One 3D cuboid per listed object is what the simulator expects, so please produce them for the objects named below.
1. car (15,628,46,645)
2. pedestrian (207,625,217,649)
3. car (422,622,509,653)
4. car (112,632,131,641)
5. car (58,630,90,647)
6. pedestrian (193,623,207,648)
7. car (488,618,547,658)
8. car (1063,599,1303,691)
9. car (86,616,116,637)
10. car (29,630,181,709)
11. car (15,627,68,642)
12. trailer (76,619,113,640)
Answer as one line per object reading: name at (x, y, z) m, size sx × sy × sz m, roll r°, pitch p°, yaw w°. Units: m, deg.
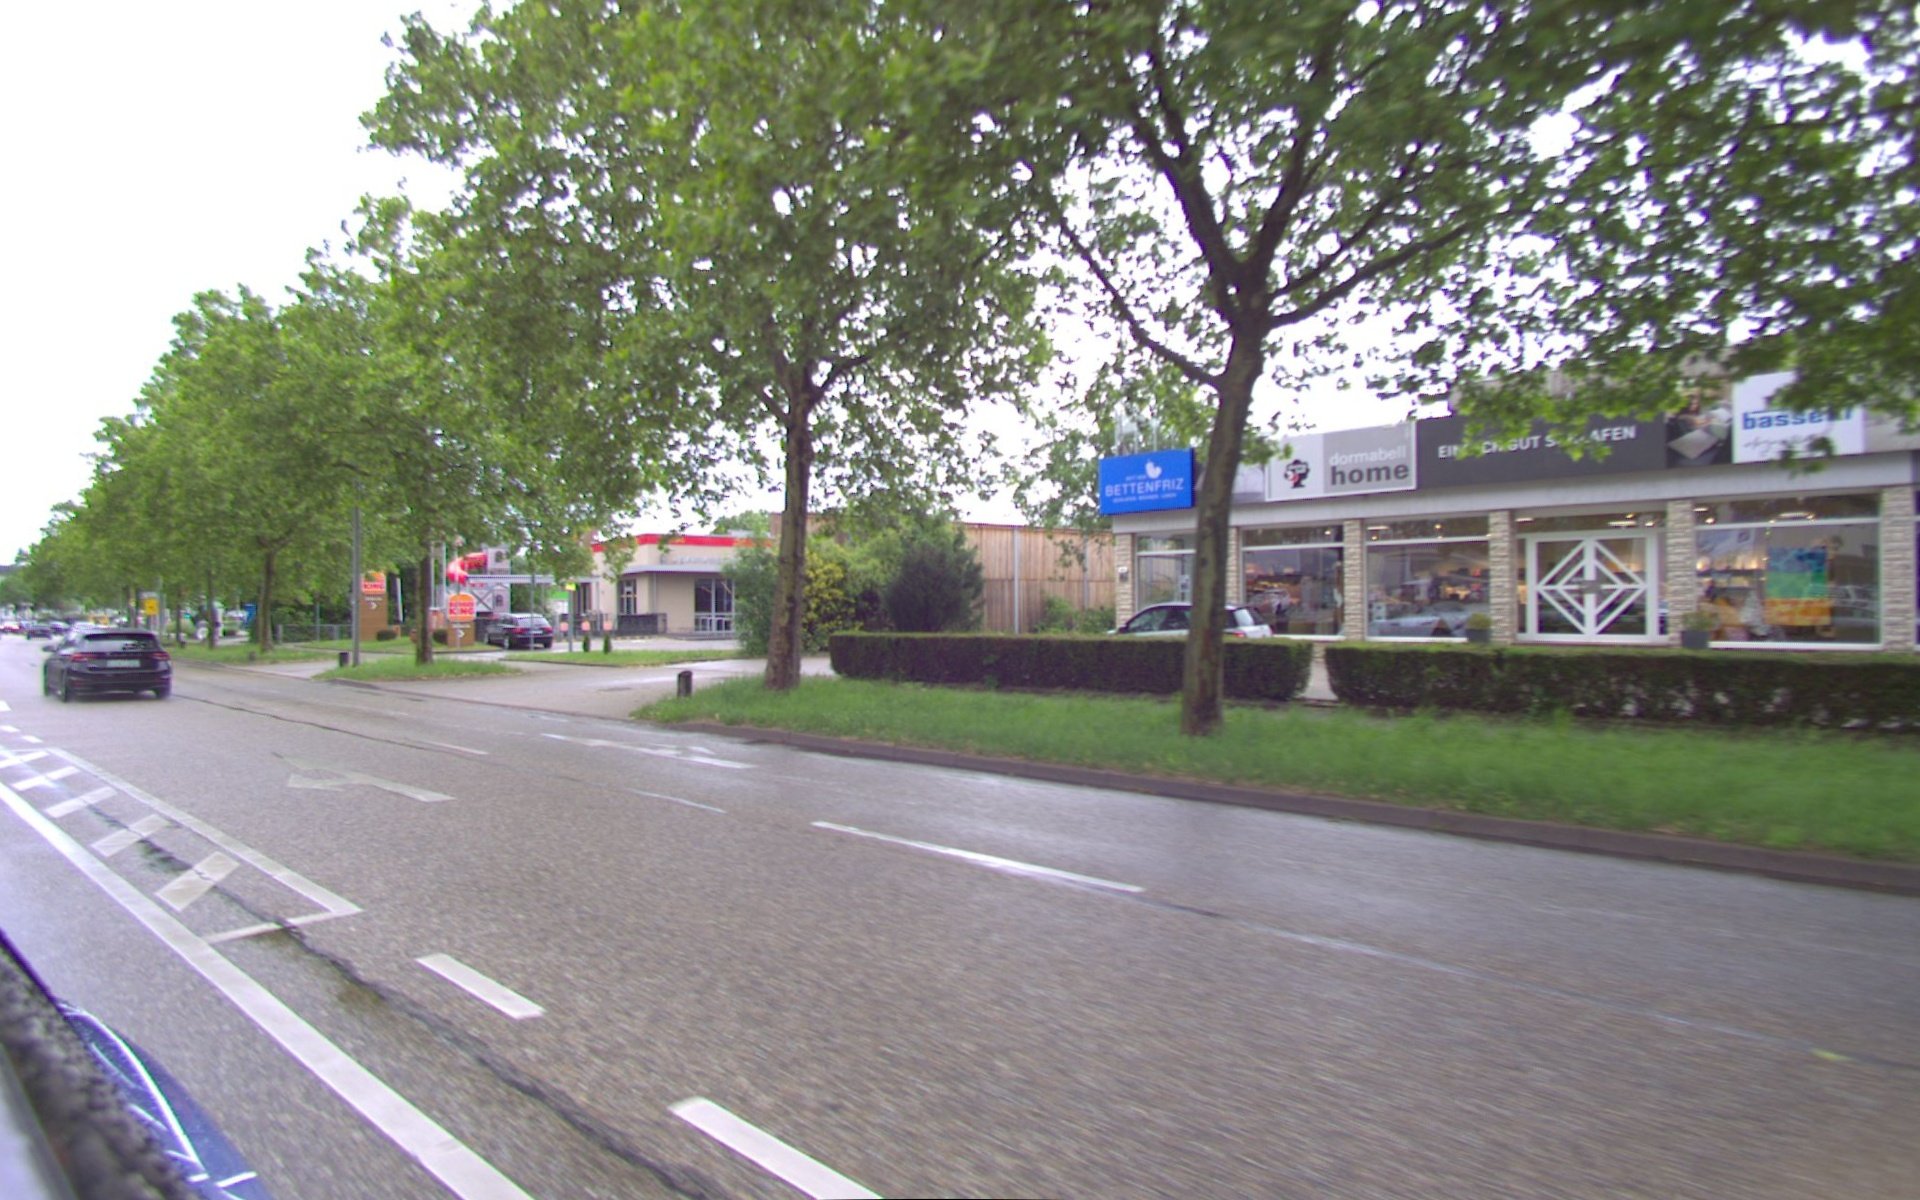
car at (-87.279, 3.479, 95.051) m, size 1.969 × 1.520 × 4.736 m, roll 2°, pitch -4°, yaw -41°
pedestrian at (-53.713, 2.682, 72.672) m, size 0.541 × 1.695 × 0.506 m, roll -2°, pitch -3°, yaw 44°
car at (-21.228, 1.589, 43.509) m, size 3.135 × 1.164 × 1.292 m, roll -3°, pitch 0°, yaw -40°
car at (-139.202, 6.027, 168.047) m, size 1.758 × 1.415 × 4.012 m, roll 1°, pitch -2°, yaw -29°
car at (-84.941, 3.666, 96.961) m, size 4.400 × 1.631 × 1.906 m, roll -1°, pitch -2°, yaw 44°
pedestrian at (-54.082, 2.538, 72.028) m, size 0.655 × 1.780 × 0.585 m, roll -1°, pitch -1°, yaw -25°
car at (-18.601, 1.563, 42.462) m, size 1.416 × 1.437 × 3.197 m, roll -1°, pitch 2°, yaw -40°
car at (4.030, 0.801, 18.594) m, size 3.937 × 1.497 × 1.804 m, roll -2°, pitch -2°, yaw 41°
car at (-112.466, 3.478, 132.578) m, size 2.208 × 2.493 × 5.029 m, roll -1°, pitch -2°, yaw -31°
car at (-17.643, 1.360, 20.824) m, size 3.843 × 1.474 × 1.785 m, roll -2°, pitch -3°, yaw 41°
car at (-103.212, 3.896, 113.752) m, size 1.801 × 1.552 × 3.974 m, roll 0°, pitch -1°, yaw 19°
trailer at (-110.343, 3.842, 129.114) m, size 2.272 × 2.493 × 7.994 m, roll -1°, pitch -2°, yaw -31°
